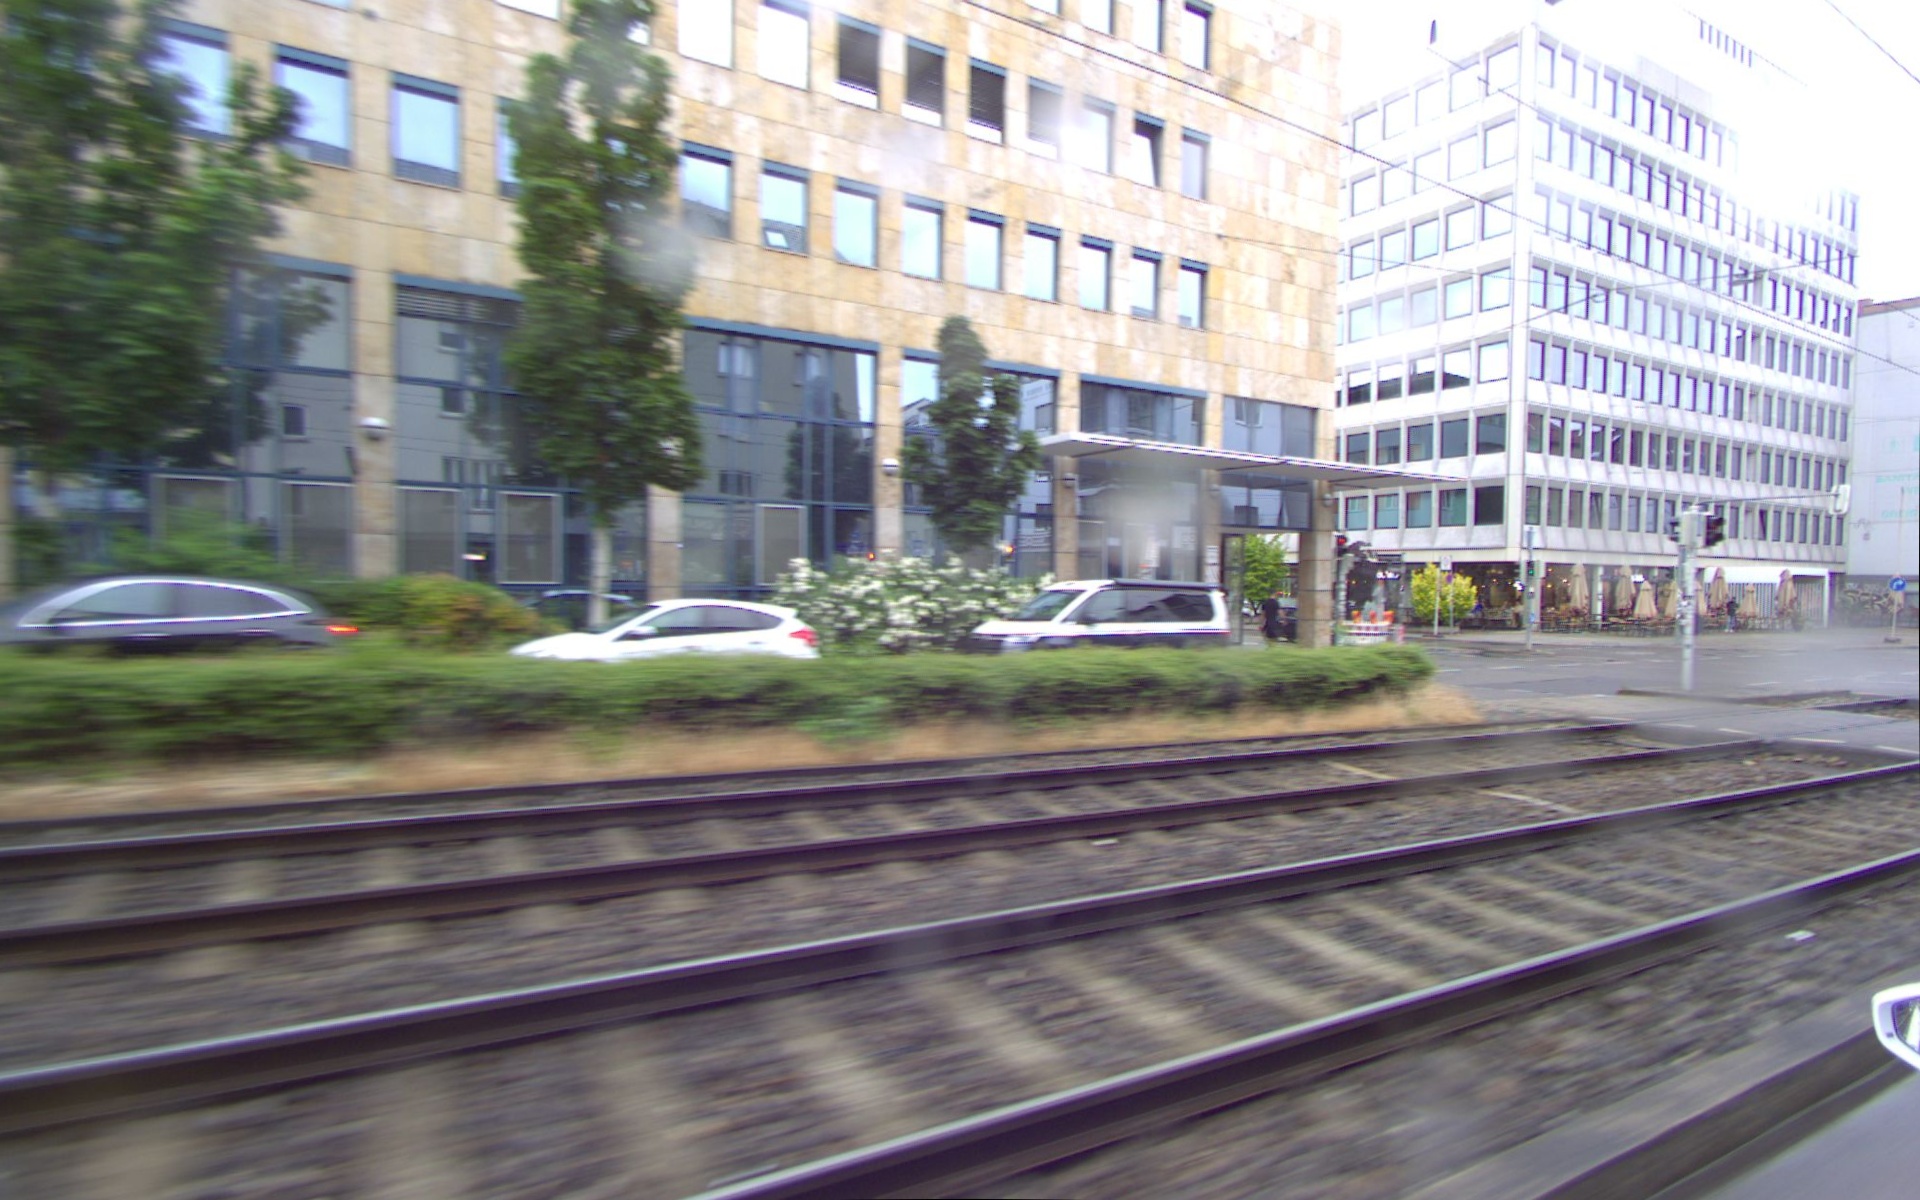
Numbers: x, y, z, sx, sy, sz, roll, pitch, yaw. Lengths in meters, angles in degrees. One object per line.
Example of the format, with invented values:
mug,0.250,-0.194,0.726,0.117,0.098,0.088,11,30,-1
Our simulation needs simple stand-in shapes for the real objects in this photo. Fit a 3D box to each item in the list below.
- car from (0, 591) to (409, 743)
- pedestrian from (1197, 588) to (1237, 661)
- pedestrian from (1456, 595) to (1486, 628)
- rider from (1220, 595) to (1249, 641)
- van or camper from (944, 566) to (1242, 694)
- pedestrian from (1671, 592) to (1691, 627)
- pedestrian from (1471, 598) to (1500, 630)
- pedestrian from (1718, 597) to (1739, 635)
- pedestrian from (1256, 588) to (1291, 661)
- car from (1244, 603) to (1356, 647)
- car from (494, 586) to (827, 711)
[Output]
car,-8.873,0.682,11.675,4.249,1.506,1.679,0,1,-33
pedestrian,6.638,0.621,25.957,0.670,1.839,0.698,0,2,-28
pedestrian,25.015,0.557,49.179,0.886,1.553,0.957,0,2,-30
rider,10.517,0.680,38.545,0.775,1.698,0.705,0,2,-31
van or camper,2.460,0.533,18.095,5.137,2.024,2.007,2,1,-31
pedestrian,36.857,0.490,51.352,0.836,1.772,0.560,0,2,-35
pedestrian,26.165,0.699,49.978,0.954,1.553,0.889,0,2,-32
pedestrian,37.689,0.779,49.256,0.836,1.847,0.560,0,2,-35
pedestrian,7.975,0.614,25.583,0.689,1.805,0.679,1,1,4
car,13.666,0.968,40.562,1.870,1.550,3.964,0,1,-33
car,-4.140,0.595,14.101,4.208,1.506,1.679,0,1,-32
